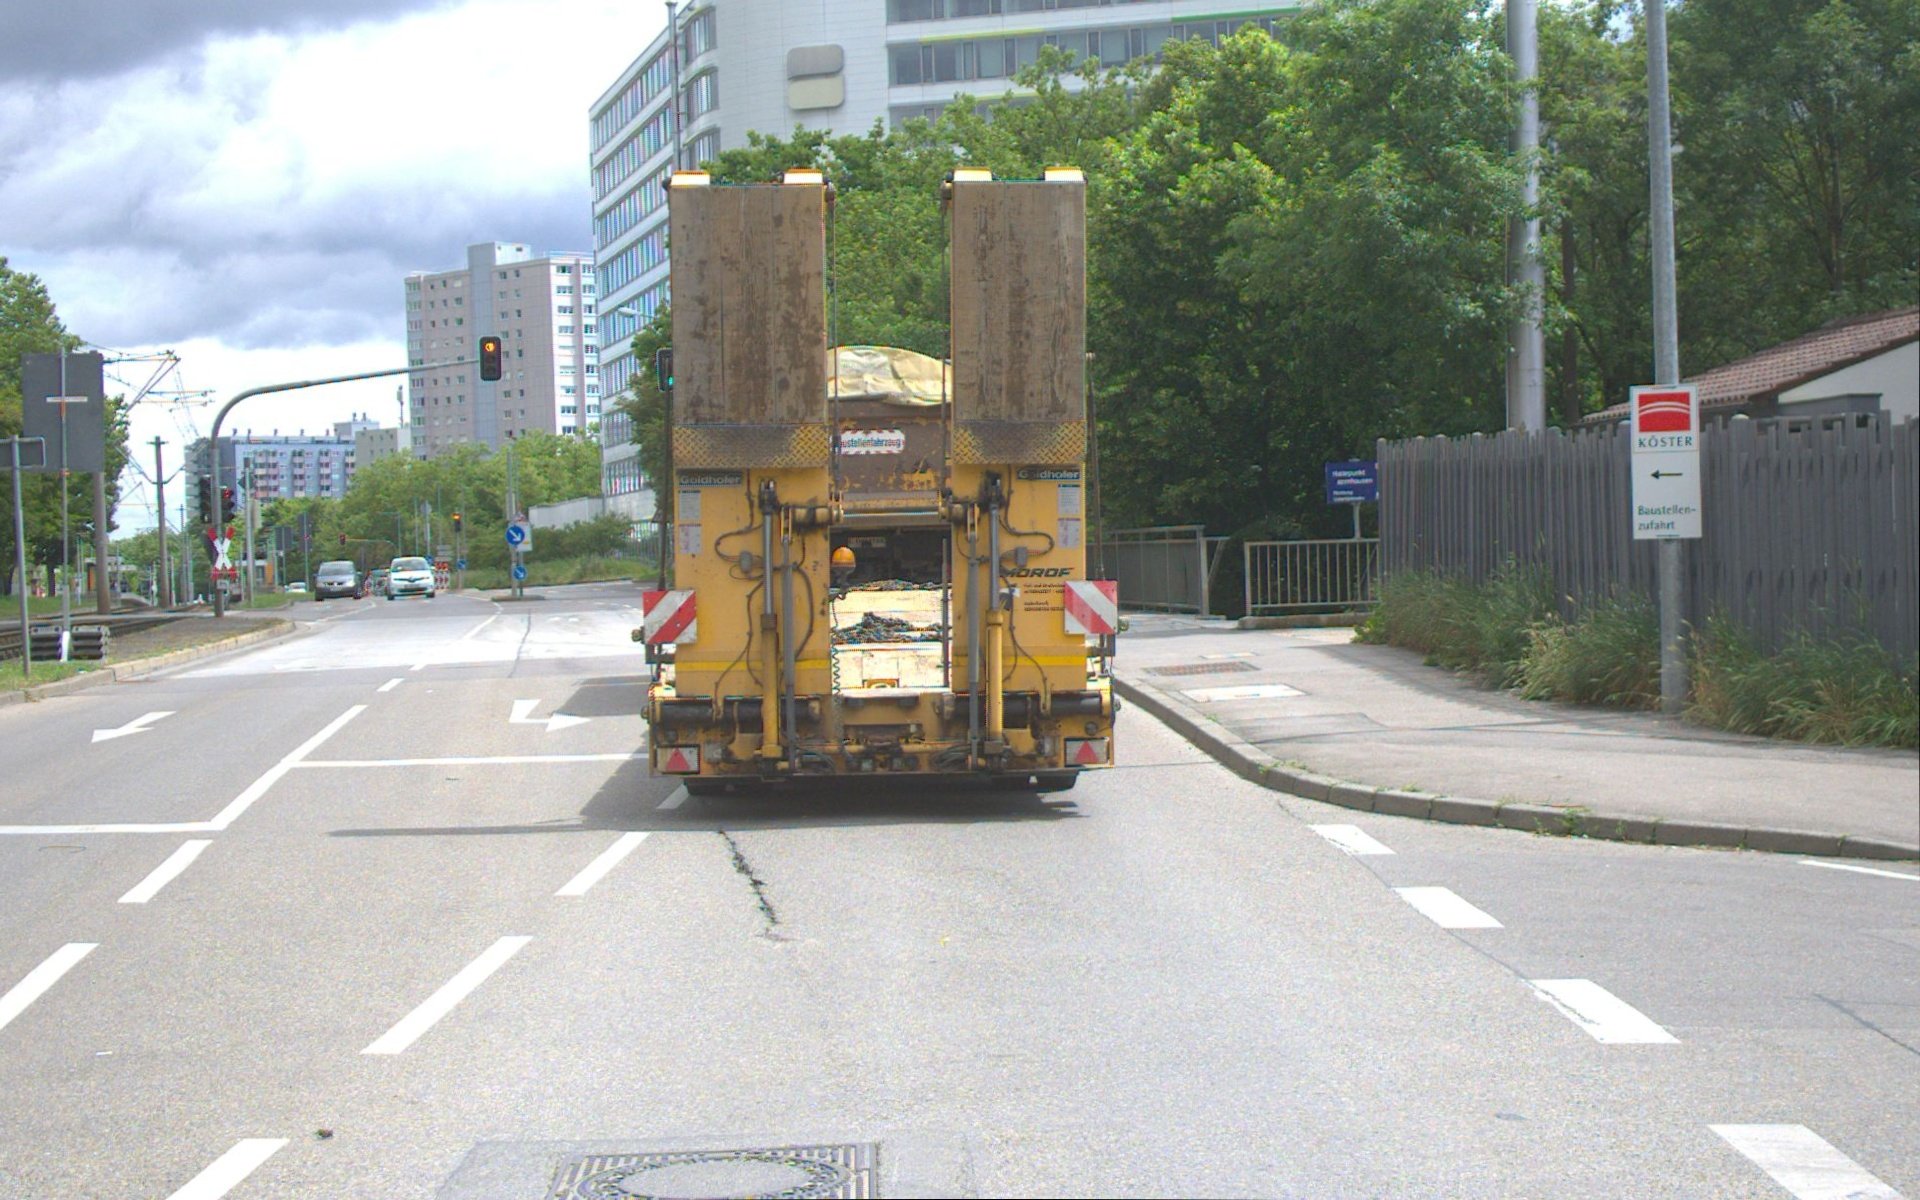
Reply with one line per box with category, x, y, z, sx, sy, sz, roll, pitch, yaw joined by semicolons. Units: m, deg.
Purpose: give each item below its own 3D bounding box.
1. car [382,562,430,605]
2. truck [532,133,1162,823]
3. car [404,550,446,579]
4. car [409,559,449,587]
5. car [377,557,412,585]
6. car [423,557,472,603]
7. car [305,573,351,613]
car;-20.517;-0.607;127.499;1.593;1.521;3.656;-2;0;-7
truck;-1.002;-0.696;24.541;3.315;3.638;12.563;-1;0;-4
car;-26.120;-1.731;167.825;1.993;1.415;4.001;0;0;-9
car;-27.453;-1.383;177.738;1.993;1.415;4.001;0;0;-9
car;-33.162;-1.686;201.811;1.993;1.612;4.001;0;0;-9
car;-21.643;-0.859;145.129;1.993;1.919;4.001;0;0;-9
car;-26.104;-0.272;142.157;1.783;1.564;4.346;-2;0;-10
